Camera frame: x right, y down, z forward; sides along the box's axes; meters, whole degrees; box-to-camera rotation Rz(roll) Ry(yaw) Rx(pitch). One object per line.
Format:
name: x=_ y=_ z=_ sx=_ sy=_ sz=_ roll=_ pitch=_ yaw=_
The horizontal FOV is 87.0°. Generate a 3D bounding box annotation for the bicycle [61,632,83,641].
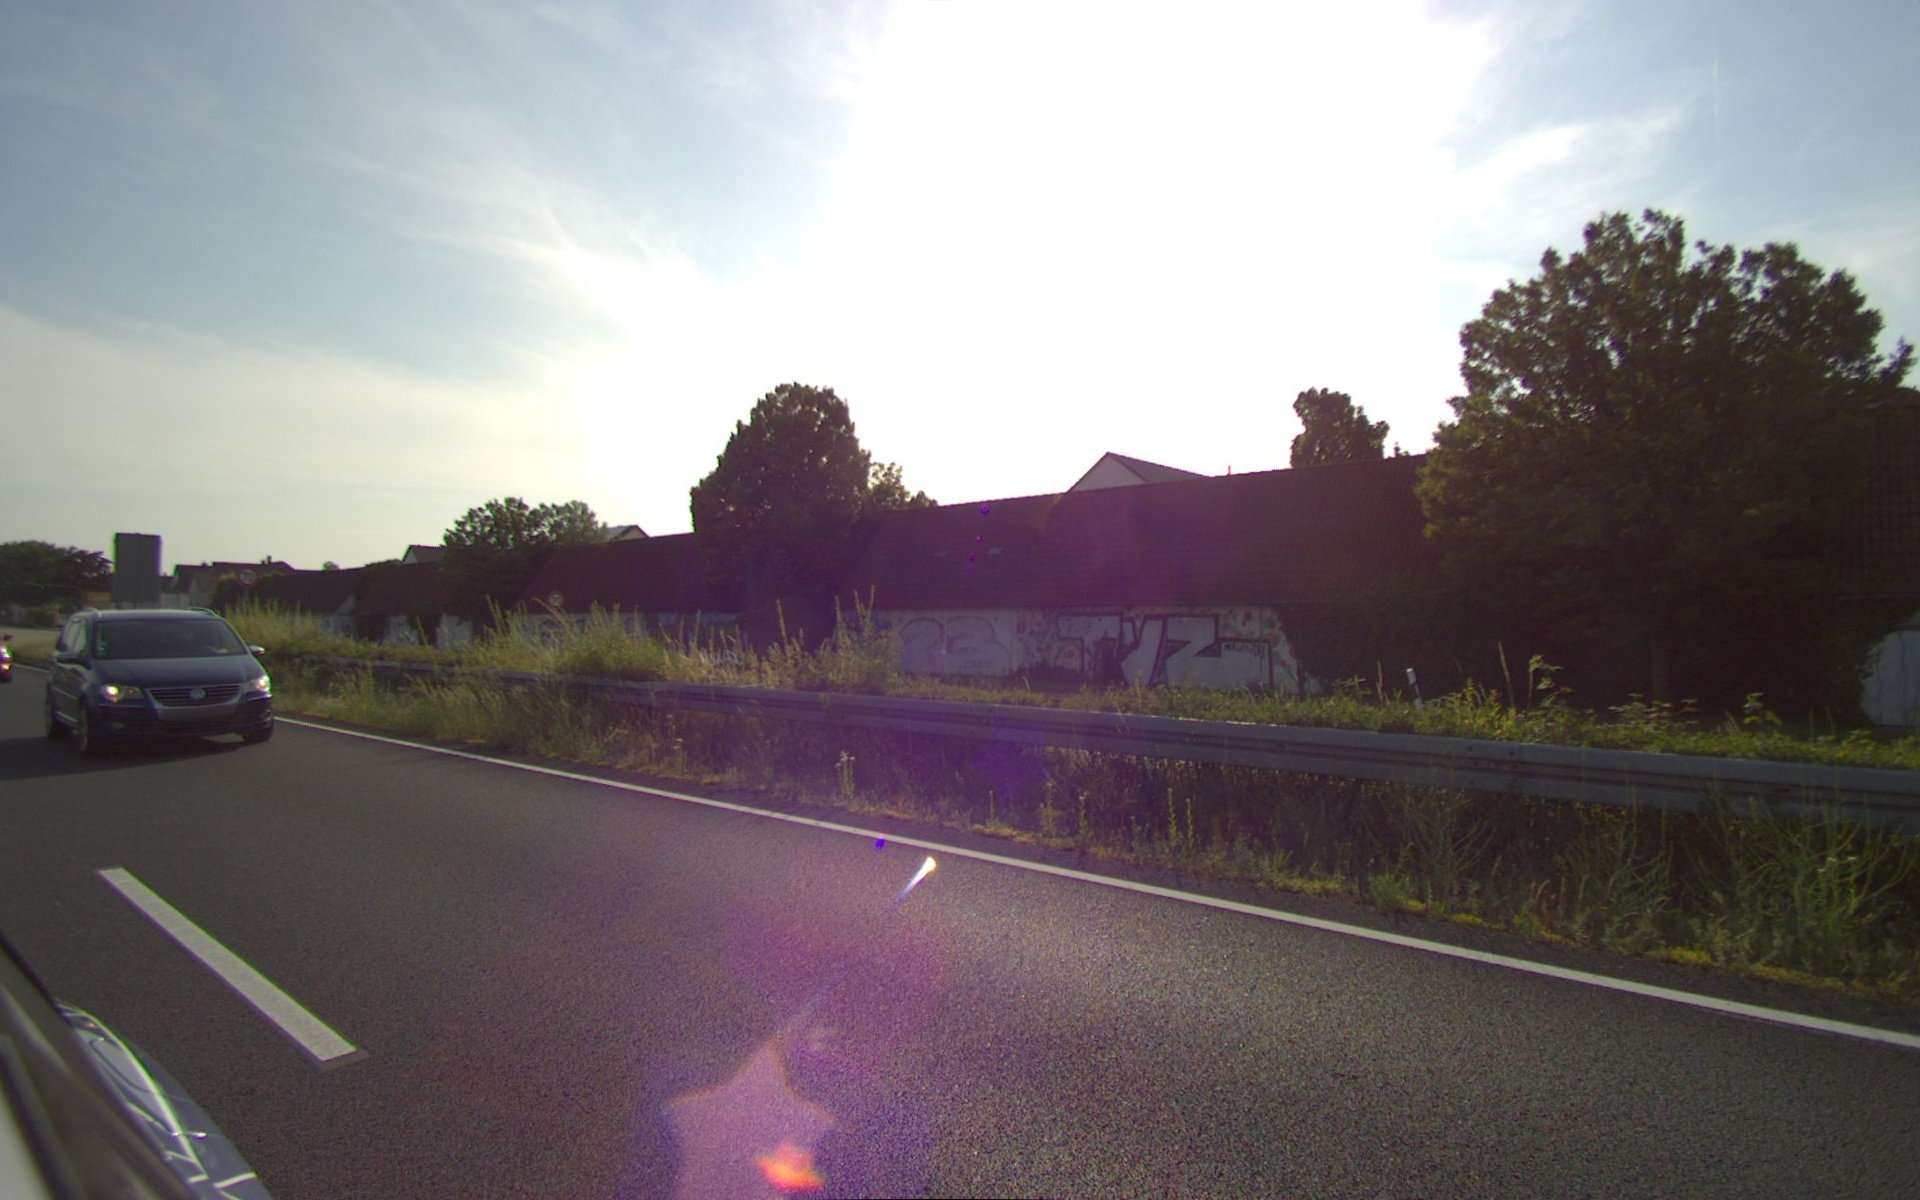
bicycle: x=-118.703 y=4.922 z=135.318 sx=2.128 sy=1.201 sz=0.905 roll=3 pitch=-2 yaw=-39

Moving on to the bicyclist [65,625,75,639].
bicyclist: x=-118.866 y=4.251 z=135.187 sx=0.843 sy=1.800 sz=0.848 roll=5 pitch=-3 yaw=-40

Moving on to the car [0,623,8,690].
car: x=-24.779 y=1.367 z=24.885 sx=4.000 sy=1.557 sz=1.725 roll=0 pitch=0 yaw=43

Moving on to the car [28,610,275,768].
car: x=-10.286 y=0.947 z=12.733 sx=4.682 sy=1.633 sz=1.753 roll=0 pitch=-1 yaw=43
